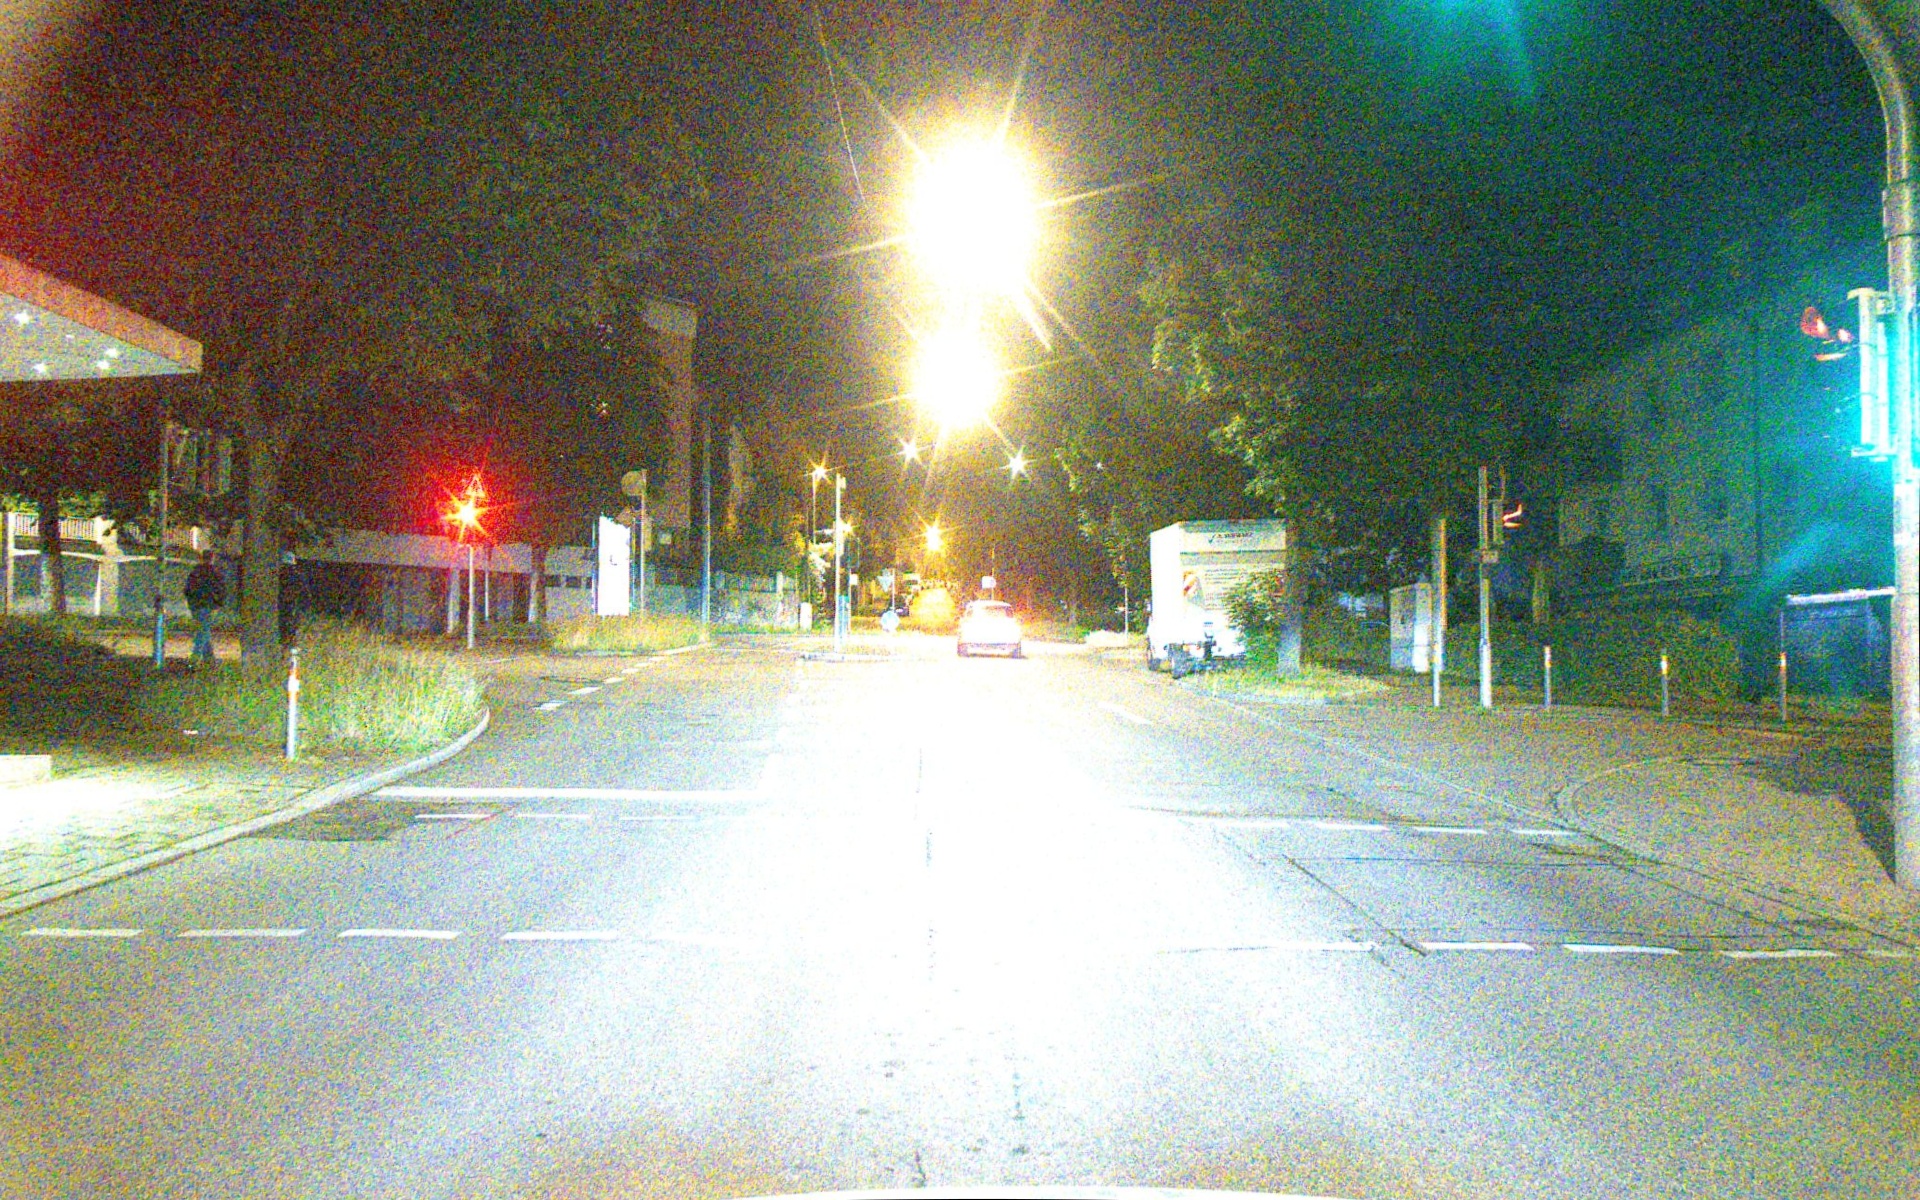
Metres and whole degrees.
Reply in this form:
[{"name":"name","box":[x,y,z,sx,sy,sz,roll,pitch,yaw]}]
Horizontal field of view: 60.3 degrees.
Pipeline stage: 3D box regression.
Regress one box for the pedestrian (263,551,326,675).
[{"name":"pedestrian","box":[-9.944,0.192,24.723,0.558,1.808,0.737,3,-1,-1]}]

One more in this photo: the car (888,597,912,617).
[{"name":"car","box":[-4.835,0.559,134.314,1.869,1.585,3.903,1,0,-1]}]

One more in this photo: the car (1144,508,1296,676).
[{"name":"car","box":[5.256,-0.143,34.307,2.249,3.147,5.840,-1,0,1]}]

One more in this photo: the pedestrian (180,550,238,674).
[{"name":"pedestrian","box":[-10.902,0.171,24.017,0.558,1.761,0.543,1,-1,-1]}]

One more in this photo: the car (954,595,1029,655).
[{"name":"car","box":[0.804,0.660,44.875,1.740,1.512,3.997,1,0,-3]}]
